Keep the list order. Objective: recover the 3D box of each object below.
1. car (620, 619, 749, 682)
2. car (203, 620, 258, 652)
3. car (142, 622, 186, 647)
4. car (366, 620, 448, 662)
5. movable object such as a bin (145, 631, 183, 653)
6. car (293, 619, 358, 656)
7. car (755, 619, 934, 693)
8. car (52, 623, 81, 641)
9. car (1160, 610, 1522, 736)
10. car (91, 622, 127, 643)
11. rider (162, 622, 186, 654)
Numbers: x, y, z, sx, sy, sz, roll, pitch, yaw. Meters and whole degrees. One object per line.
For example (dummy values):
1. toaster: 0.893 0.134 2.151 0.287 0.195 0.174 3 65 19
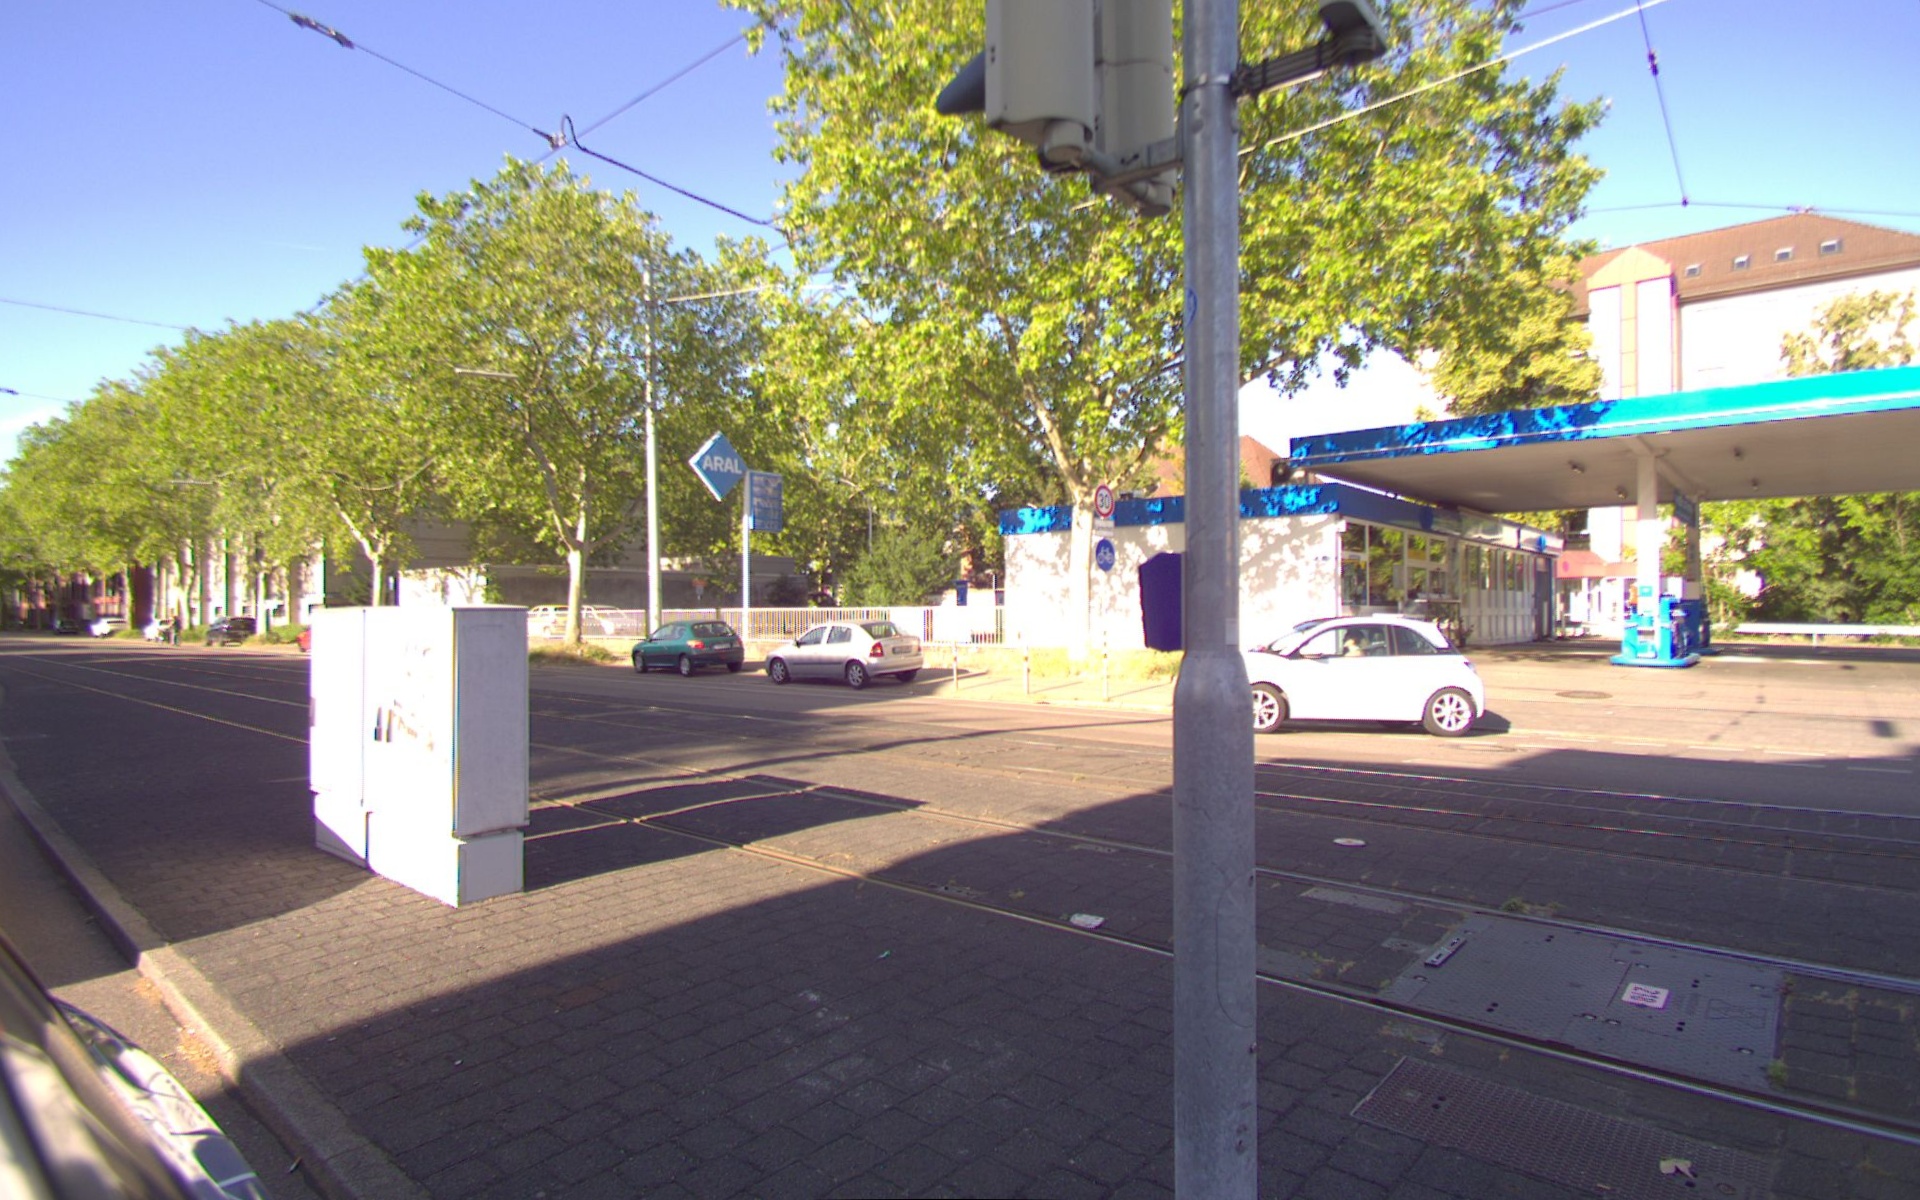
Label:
1. car: -7.396 1.300 27.021 3.606 1.455 1.598 -1 2 43
2. car: -40.730 1.996 56.480 3.878 1.603 1.731 -1 2 43
3. car: -53.704 2.297 68.244 3.878 1.552 1.731 -1 2 43
4. car: -21.834 1.575 39.894 3.769 1.455 1.701 -1 2 43
5. movable object such as a bin: -44.173 2.321 56.158 1.831 1.111 1.165 -1 0 35
6. car: -28.820 1.682 45.965 3.377 1.506 1.639 -1 2 43
7. car: -2.632 1.193 22.597 3.987 1.376 1.666 -2 3 41
8. car: -85.039 3.027 96.330 3.731 1.471 1.639 -1 2 43
9. car: 4.679 0.922 12.825 3.877 1.446 1.745 1 -4 -3
10. car: -66.791 2.514 79.411 3.731 1.471 1.639 -1 2 43
11. rider: -43.060 2.072 55.438 1.104 1.660 0.717 -1 0 35
